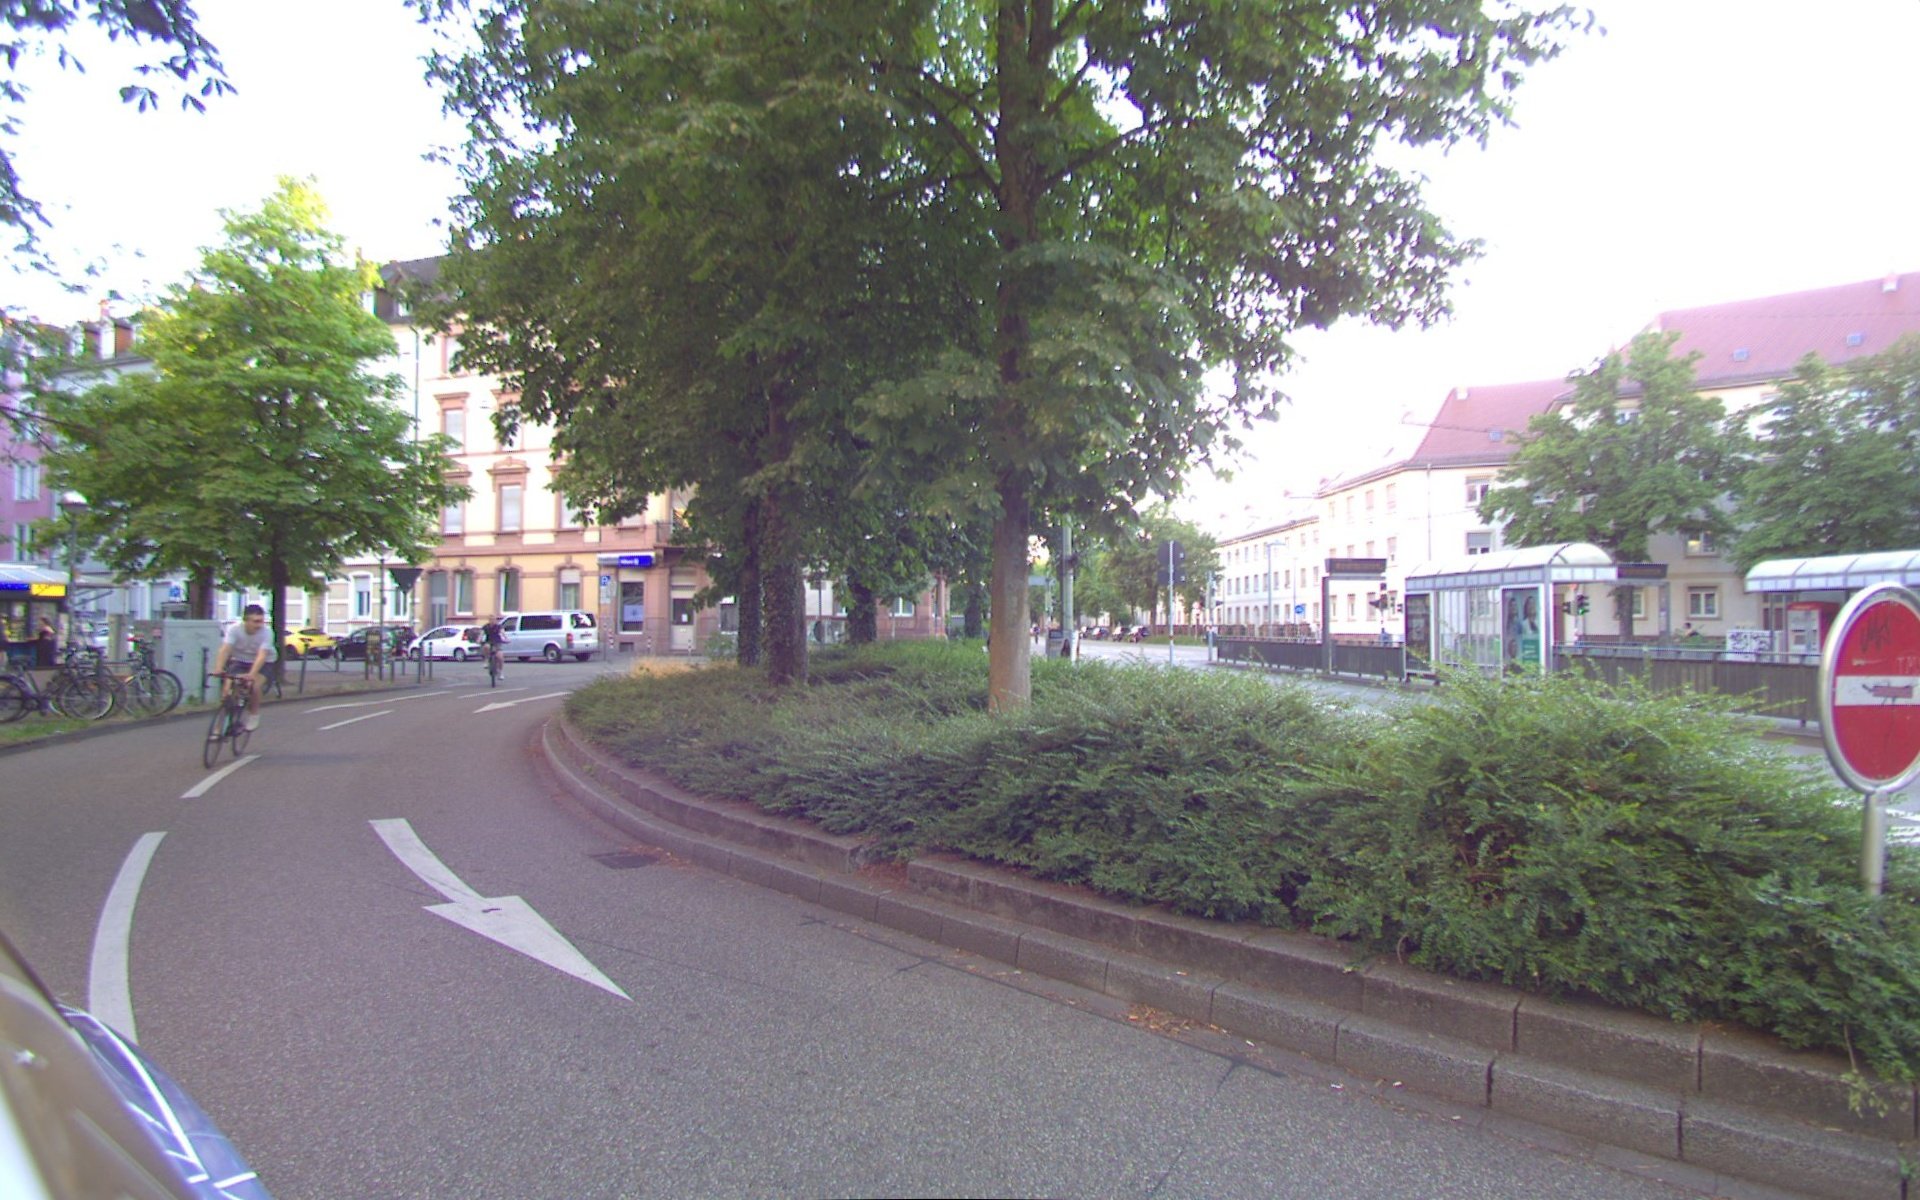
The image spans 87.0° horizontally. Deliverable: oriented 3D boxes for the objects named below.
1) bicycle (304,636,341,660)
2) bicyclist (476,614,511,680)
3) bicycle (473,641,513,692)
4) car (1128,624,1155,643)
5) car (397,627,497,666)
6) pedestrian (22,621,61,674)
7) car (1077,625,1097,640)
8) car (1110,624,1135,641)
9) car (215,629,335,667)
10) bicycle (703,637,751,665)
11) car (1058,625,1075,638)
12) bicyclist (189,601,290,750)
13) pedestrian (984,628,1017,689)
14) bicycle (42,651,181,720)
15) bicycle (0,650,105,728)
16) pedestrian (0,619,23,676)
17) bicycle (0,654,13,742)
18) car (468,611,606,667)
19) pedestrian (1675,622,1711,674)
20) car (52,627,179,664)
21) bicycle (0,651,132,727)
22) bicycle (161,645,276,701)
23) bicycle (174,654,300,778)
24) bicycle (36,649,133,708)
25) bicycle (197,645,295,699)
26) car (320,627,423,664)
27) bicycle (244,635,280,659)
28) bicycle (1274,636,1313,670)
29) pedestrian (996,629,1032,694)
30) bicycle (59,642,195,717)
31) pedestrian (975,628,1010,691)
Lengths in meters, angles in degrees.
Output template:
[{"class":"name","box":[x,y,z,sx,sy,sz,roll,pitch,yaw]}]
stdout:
[{"class":"bicycle","box":[-30.388,2.283,48.262,1.850,1.149,0.478,-1,-2,21]},{"class":"bicyclist","box":[-11.099,1.107,24.059,0.674,1.524,0.976,1,-2,-30]},{"class":"bicycle","box":[-11.139,1.555,24.117,0.674,1.160,2.121,1,-2,-30]},{"class":"car","box":[18.263,3.323,102.022,1.882,1.864,4.002,0,-2,-3]},{"class":"car","box":[-21.154,1.901,41.762,3.585,1.502,1.679,-1,0,19]},{"class":"pedestrian","box":[-27.519,1.422,30.329,0.581,1.551,0.680,0,-2,-11]},{"class":"car","box":[16.592,4.225,132.040,1.882,1.864,4.002,0,-2,-3]},{"class":"car","box":[17.794,3.547,110.913,1.882,1.864,4.002,0,-2,-3]},{"class":"car","box":[-30.191,2.105,44.622,4.760,1.537,1.834,-1,0,17]},{"class":"bicycle","box":[-9.123,1.988,39.646,1.776,1.091,0.559,0,-1,7]},{"class":"car","box":[15.683,4.624,149.629,1.882,1.864,4.002,0,-2,-3]},{"class":"bicyclist","box":[-7.743,0.787,10.914,0.674,1.524,0.976,0,-2,-23]},{"class":"pedestrian","box":[0.978,1.408,24.378,0.650,1.442,0.614,-1,-2,21]},{"class":"bicycle","box":[-13.293,1.326,15.894,1.581,1.028,0.556,1,-2,-14]},{"class":"bicycle","box":[-13.364,1.264,14.543,1.580,1.084,0.420,1,-2,-18]},{"class":"pedestrian","box":[-27.962,1.390,29.544,0.581,1.650,0.680,0,-2,-11]},{"class":"bicycle","box":[-12.628,1.199,12.157,1.765,1.071,0.449,1,-2,-22]},{"class":"car","box":[-16.612,1.520,39.765,4.967,2.072,2.034,-1,0,20]},{"class":"pedestrian","box":[30.094,1.948,41.551,1.060,2.101,0.999,-1,-2,43]},{"class":"car","box":[-36.296,1.941,43.502,4.803,1.528,1.987,-1,-2,19]},{"class":"bicycle","box":[-13.305,1.302,14.959,1.580,1.071,0.420,1,-2,-18]},{"class":"bicycle","box":[-14.305,1.407,19.547,1.872,1.047,0.432,0,-2,-1]},{"class":"bicycle","box":[-7.774,1.188,10.979,0.674,1.160,2.122,0,-2,-24]},{"class":"bicycle","box":[-15.480,1.365,17.950,0.425,0.976,1.730,0,-2,-9]},{"class":"bicycle","box":[-14.051,1.409,19.925,1.584,1.047,0.432,0,-2,-1]},{"class":"car","box":[-25.007,1.918,43.039,3.708,1.502,1.726,-1,0,16]},{"class":"bicycle","box":[-34.249,2.293,49.672,1.850,1.149,0.478,-1,-2,21]},{"class":"bicycle","box":[10.507,1.658,31.932,0.538,1.059,1.856,0,-2,-2]},{"class":"pedestrian","box":[1.222,1.376,22.965,0.650,1.442,0.614,-1,-2,21]},{"class":"bicycle","box":[-13.403,1.267,16.326,1.581,1.157,0.556,1,-2,-14]},{"class":"pedestrian","box":[0.756,1.379,23.653,0.650,1.442,0.614,-1,-2,21]}]
